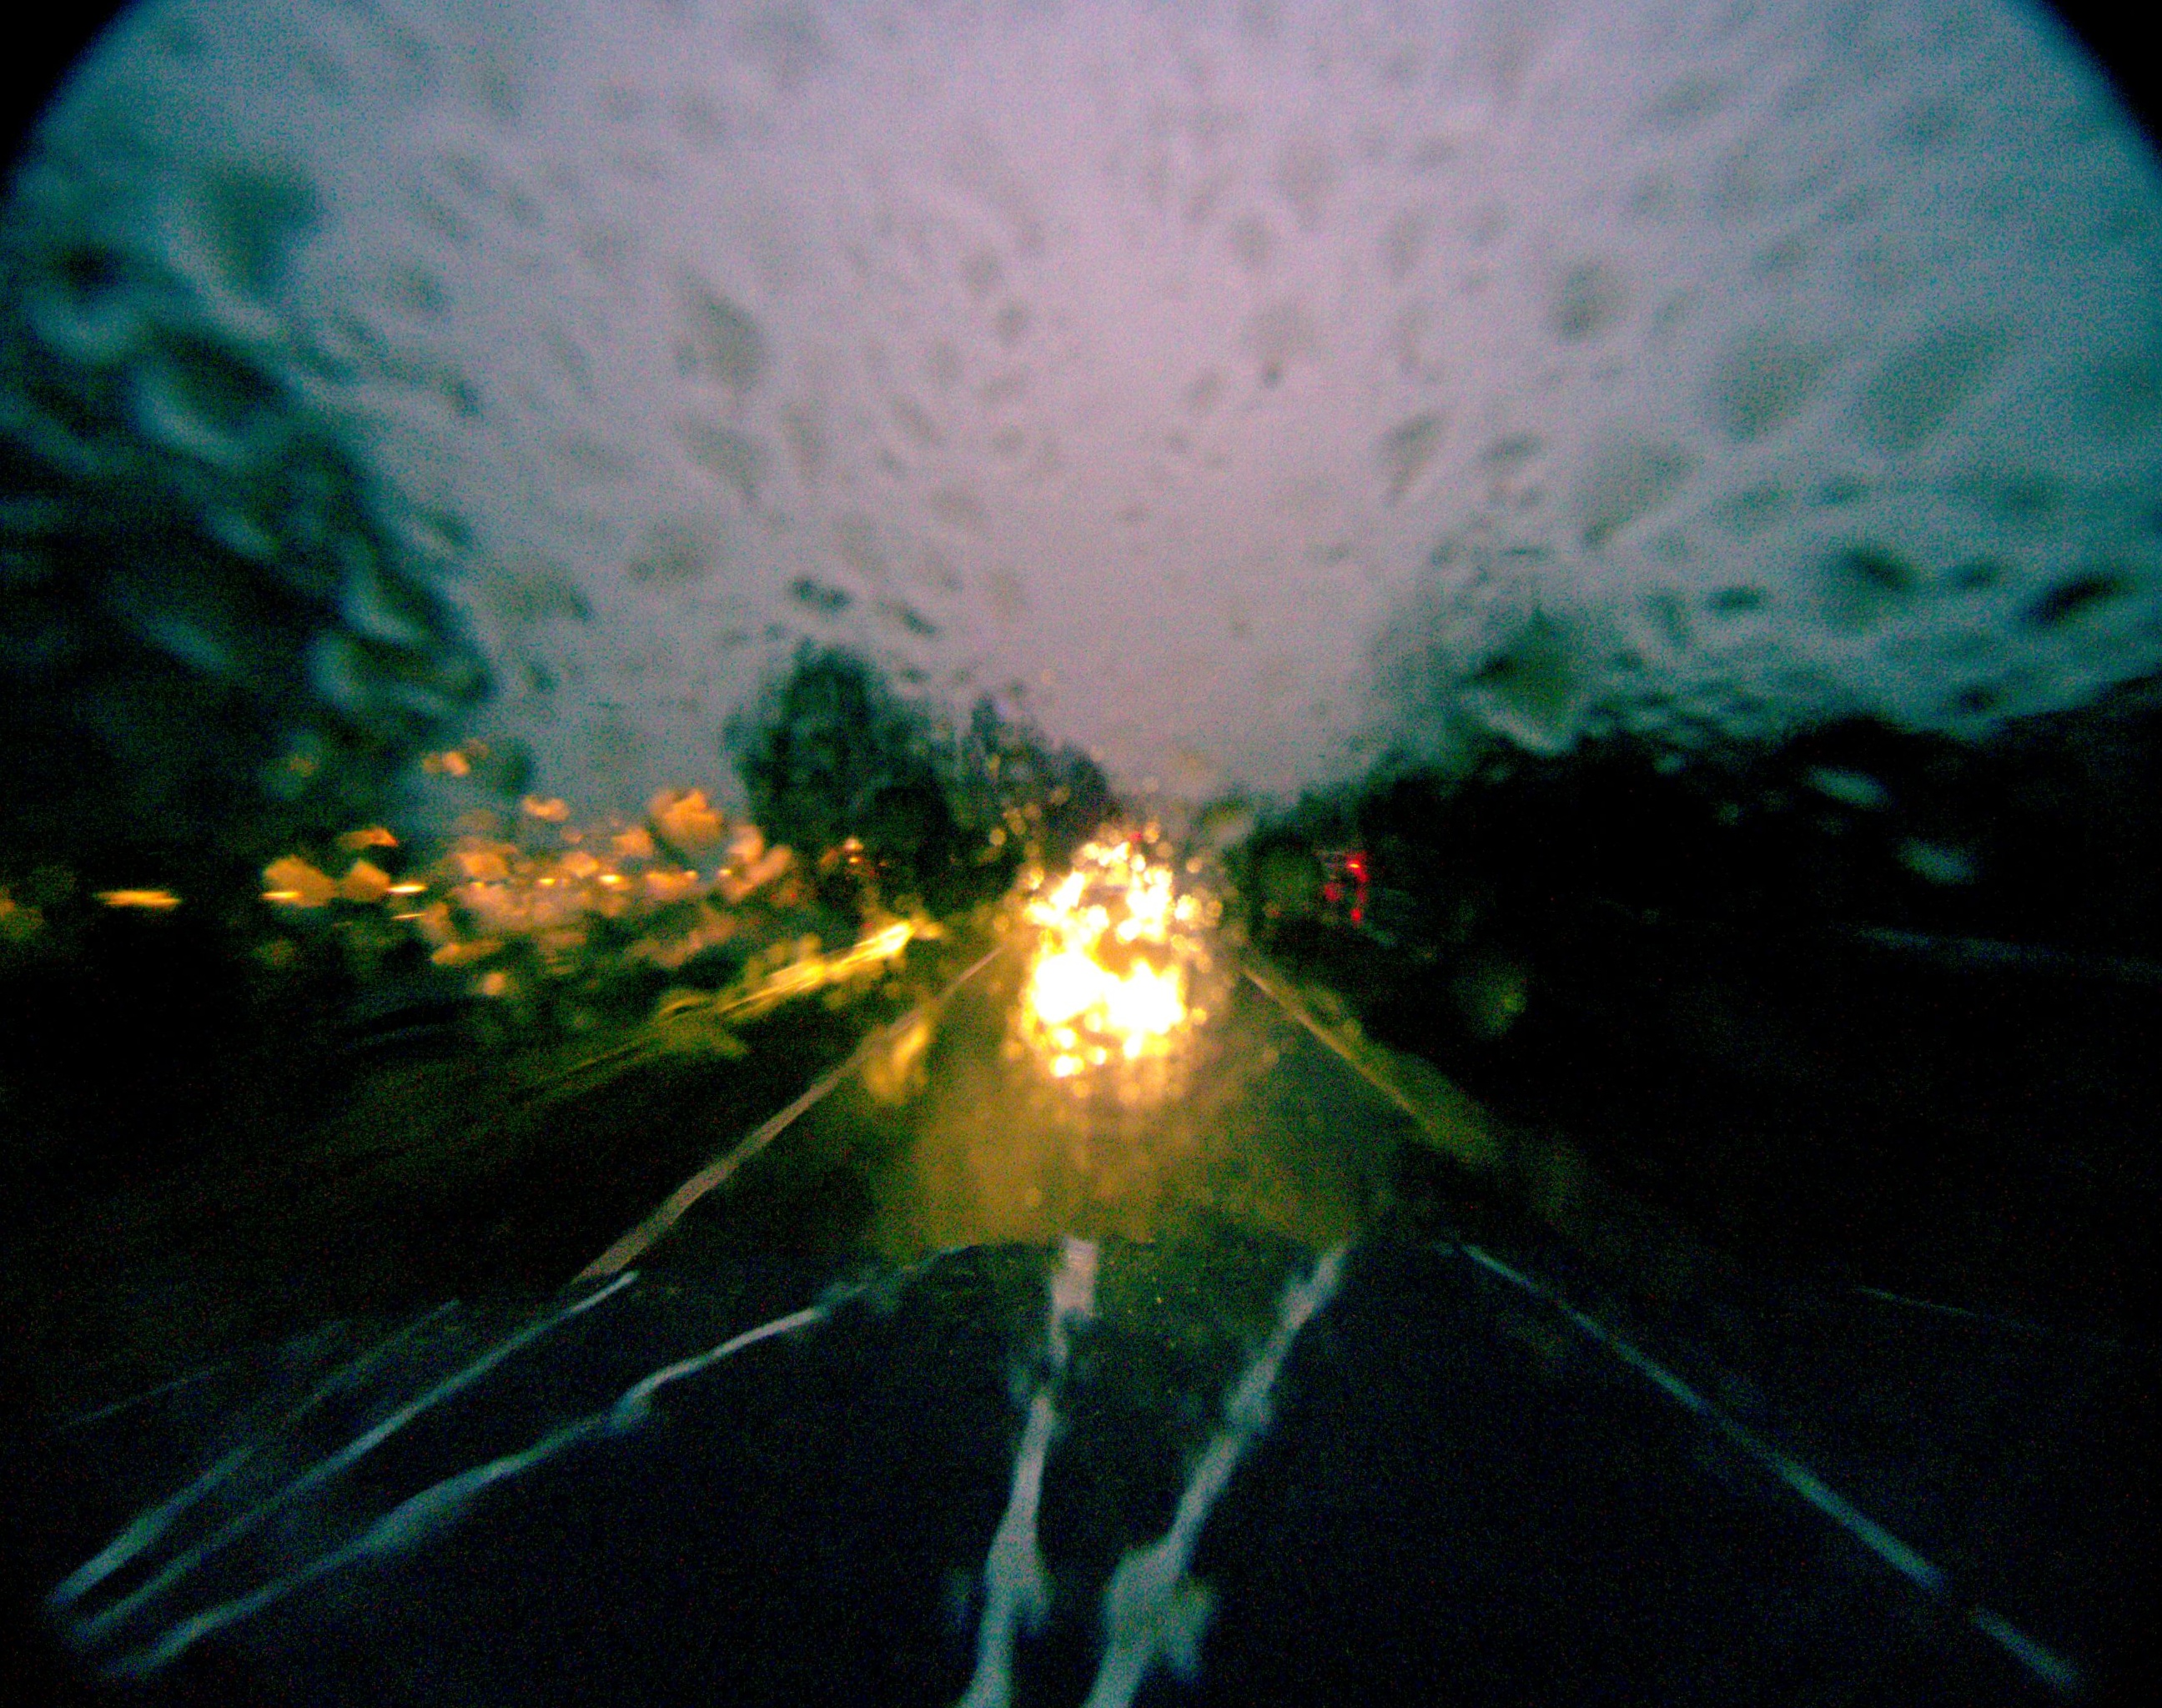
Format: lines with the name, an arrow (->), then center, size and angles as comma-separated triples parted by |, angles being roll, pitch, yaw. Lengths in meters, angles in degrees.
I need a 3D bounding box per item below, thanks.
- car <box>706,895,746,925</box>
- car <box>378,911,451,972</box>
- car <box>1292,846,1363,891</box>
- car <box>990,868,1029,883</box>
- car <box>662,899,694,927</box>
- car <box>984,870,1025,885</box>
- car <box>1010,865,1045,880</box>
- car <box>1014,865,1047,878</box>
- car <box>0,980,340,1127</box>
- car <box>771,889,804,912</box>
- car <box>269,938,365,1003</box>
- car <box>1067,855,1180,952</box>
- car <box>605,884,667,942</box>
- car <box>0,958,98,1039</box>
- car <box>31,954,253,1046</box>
car -> -20.687, 3.205, 44.190 | 1.717, 1.404, 4.004 | -2, 1, -30
car -> -26.542, 3.415, 30.407 | 1.891, 1.946, 4.948 | -4, 0, -39
car -> 9.597, 0.527, 29.868 | 1.698, 1.569, 3.885 | -2, 1, 4
car -> -7.627, 2.315, 81.360 | 4.011, 1.404, 1.715 | -2, 1, 0
car -> -24.079, 3.483, 45.377 | 1.532, 1.330, 3.579 | -2, 1, -30
car -> -7.817, 2.391, 78.036 | 4.011, 1.404, 1.715 | -2, 1, 0
car -> -6.435, 2.208, 91.780 | 4.011, 1.588, 1.806 | -2, 1, 0
car -> -6.471, 2.199, 97.768 | 4.011, 1.523, 1.715 | -2, 1, 0
car -> -15.374, 3.193, 12.838 | 1.771, 1.421, 3.812 | -2, 1, 4
car -> -20.044, 3.126, 51.795 | 1.532, 1.330, 3.579 | -2, 1, -30
car -> -23.181, 3.460, 23.024 | 3.249, 1.508, 1.723 | -3, 1, 40
car -> 0.946, 0.849, 15.055 | 1.809, 1.452, 4.247 | -4, 1, 6
car -> -22.001, 2.811, 37.458 | 2.285, 2.426, 5.227 | -2, 1, -33
car -> -27.581, 3.759, 20.031 | 3.969, 1.586, 1.805 | -2, 0, 41
car -> -22.781, 3.469, 18.564 | 1.388, 1.526, 3.264 | -3, 0, 38
